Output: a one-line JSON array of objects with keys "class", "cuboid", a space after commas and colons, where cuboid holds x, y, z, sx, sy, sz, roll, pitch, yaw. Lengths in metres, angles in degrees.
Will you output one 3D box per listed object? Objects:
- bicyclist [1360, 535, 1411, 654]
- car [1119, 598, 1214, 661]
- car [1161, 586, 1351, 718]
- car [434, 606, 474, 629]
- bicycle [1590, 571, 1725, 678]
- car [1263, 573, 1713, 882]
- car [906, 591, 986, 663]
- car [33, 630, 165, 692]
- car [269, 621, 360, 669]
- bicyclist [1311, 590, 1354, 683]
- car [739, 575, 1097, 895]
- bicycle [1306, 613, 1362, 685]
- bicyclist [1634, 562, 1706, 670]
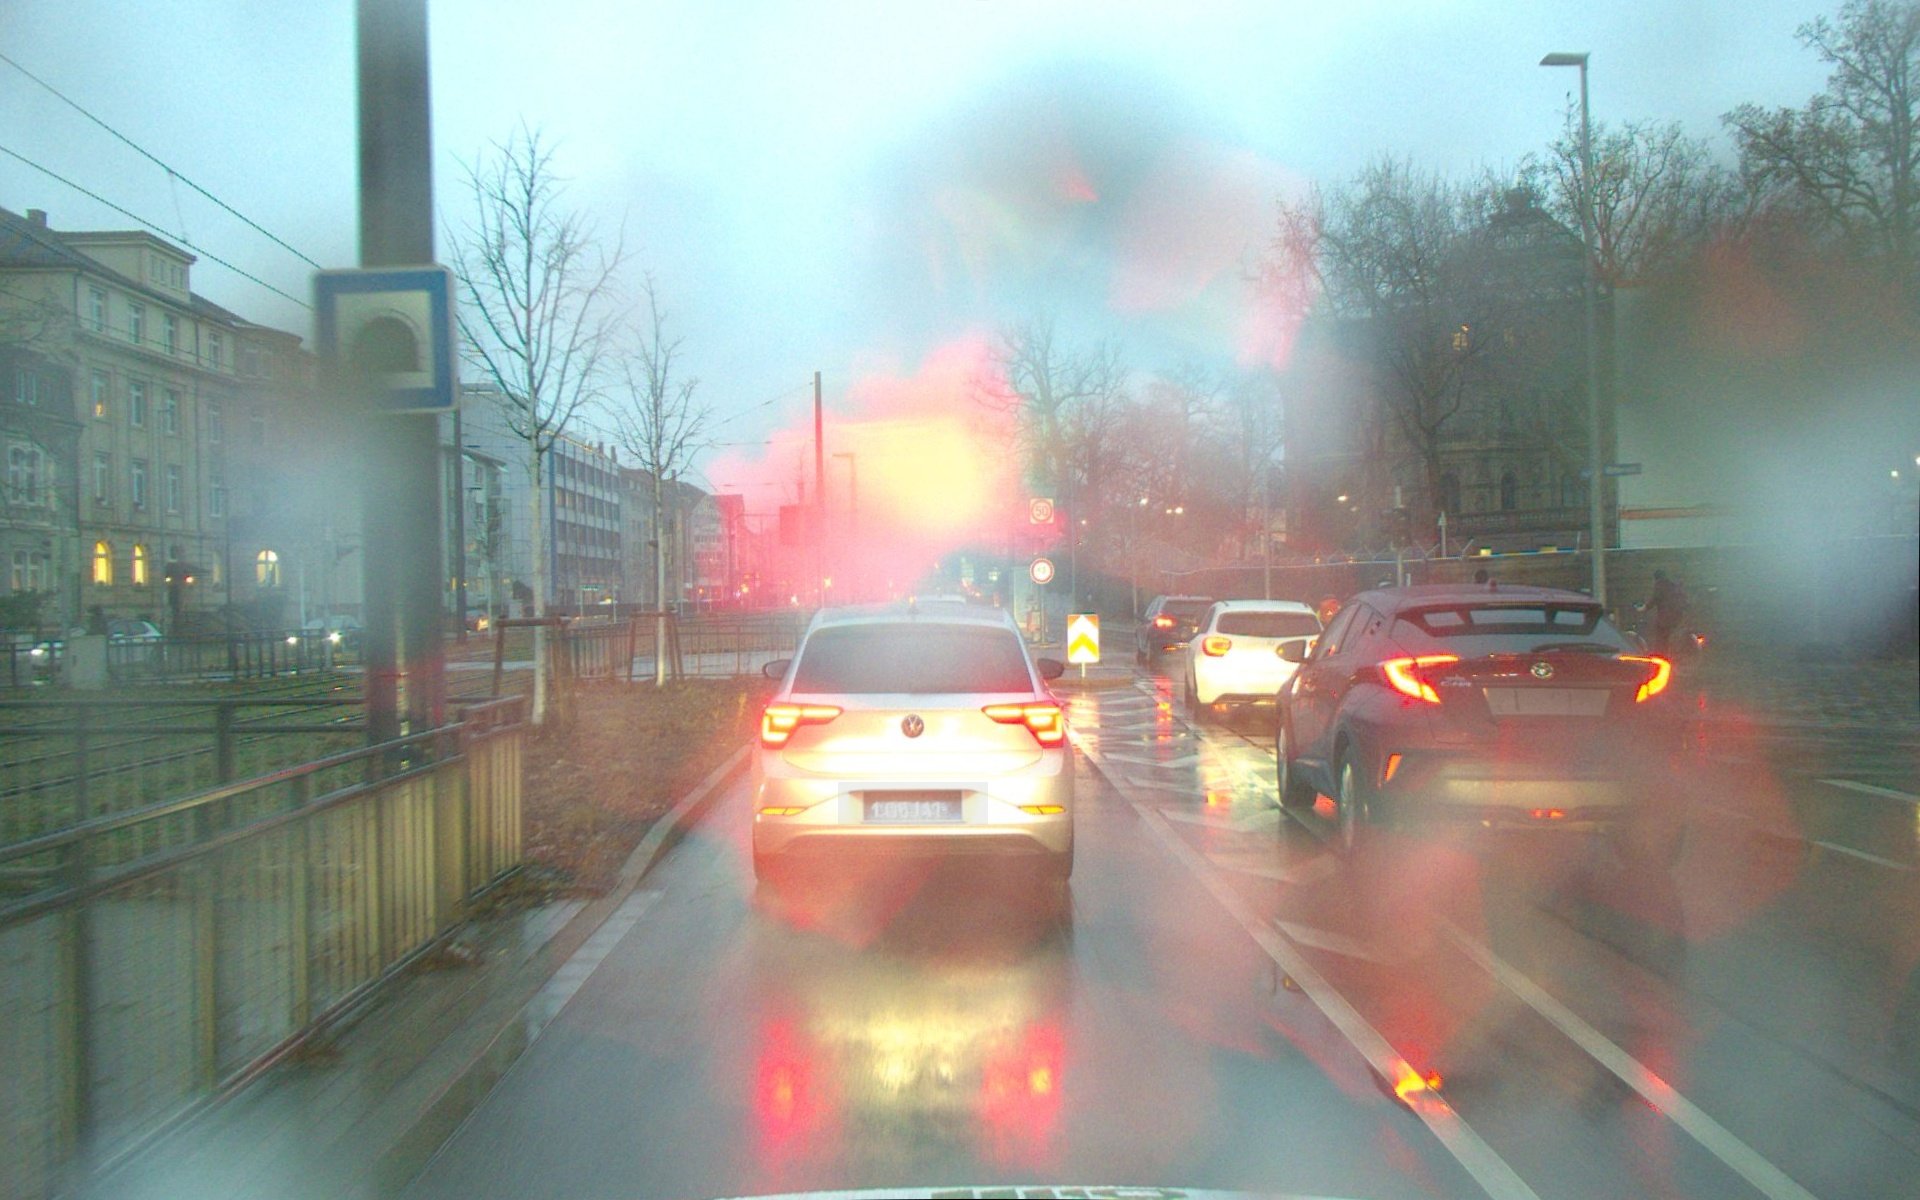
[{"class": "bicyclist", "cuboid": [6.563, -0.084, 25.544, 0.490, 1.798, 0.836, -1, 0, -4]}, {"class": "car", "cuboid": [4.559, 0.638, 36.999, 1.590, 1.322, 3.999, 1, -1, 0]}, {"class": "car", "cuboid": [3.654, 0.622, 21.052, 1.687, 1.505, 3.999, 1, -1, 0]}, {"class": "car", "cuboid": [-34.701, 1.172, 113.494, 1.770, 1.461, 3.924, -2, 0, -4]}, {"class": "bicycle", "cuboid": [11.432, 0.391, 27.184, 0.678, 1.686, 2.232, 1, -1, -22]}, {"class": "car", "cuboid": [2.973, 0.644, 10.184, 1.686, 1.505, 4.001, 1, -1, 3]}, {"class": "car", "cuboid": [-0.302, 0.586, 37.071, 1.687, 1.505, 3.999, 1, -1, 0]}, {"class": "car", "cuboid": [-24.478, 1.704, 47.175, 1.765, 1.613, 3.998, 1, -1, -2]}, {"class": "car", "cuboid": [-22.760, 1.574, 58.456, 1.765, 1.613, 3.998, 1, -1, -2]}, {"class": "bicyclist", "cuboid": [6.602, 0.631, 29.343, 0.490, 1.619, 0.836, -1, 0, -4]}, {"class": "car", "cuboid": [-0.205, 0.666, 9.879, 1.687, 1.505, 3.999, 1, -1, 0]}, {"class": "bicycle", "cuboid": [6.605, 0.846, 29.281, 0.403, 1.206, 1.947, -1, 0, -3]}, {"class": "bicyclist", "cuboid": [11.543, 0.256, 26.917, 0.685, 1.708, 0.812, -1, 0, -21]}]
